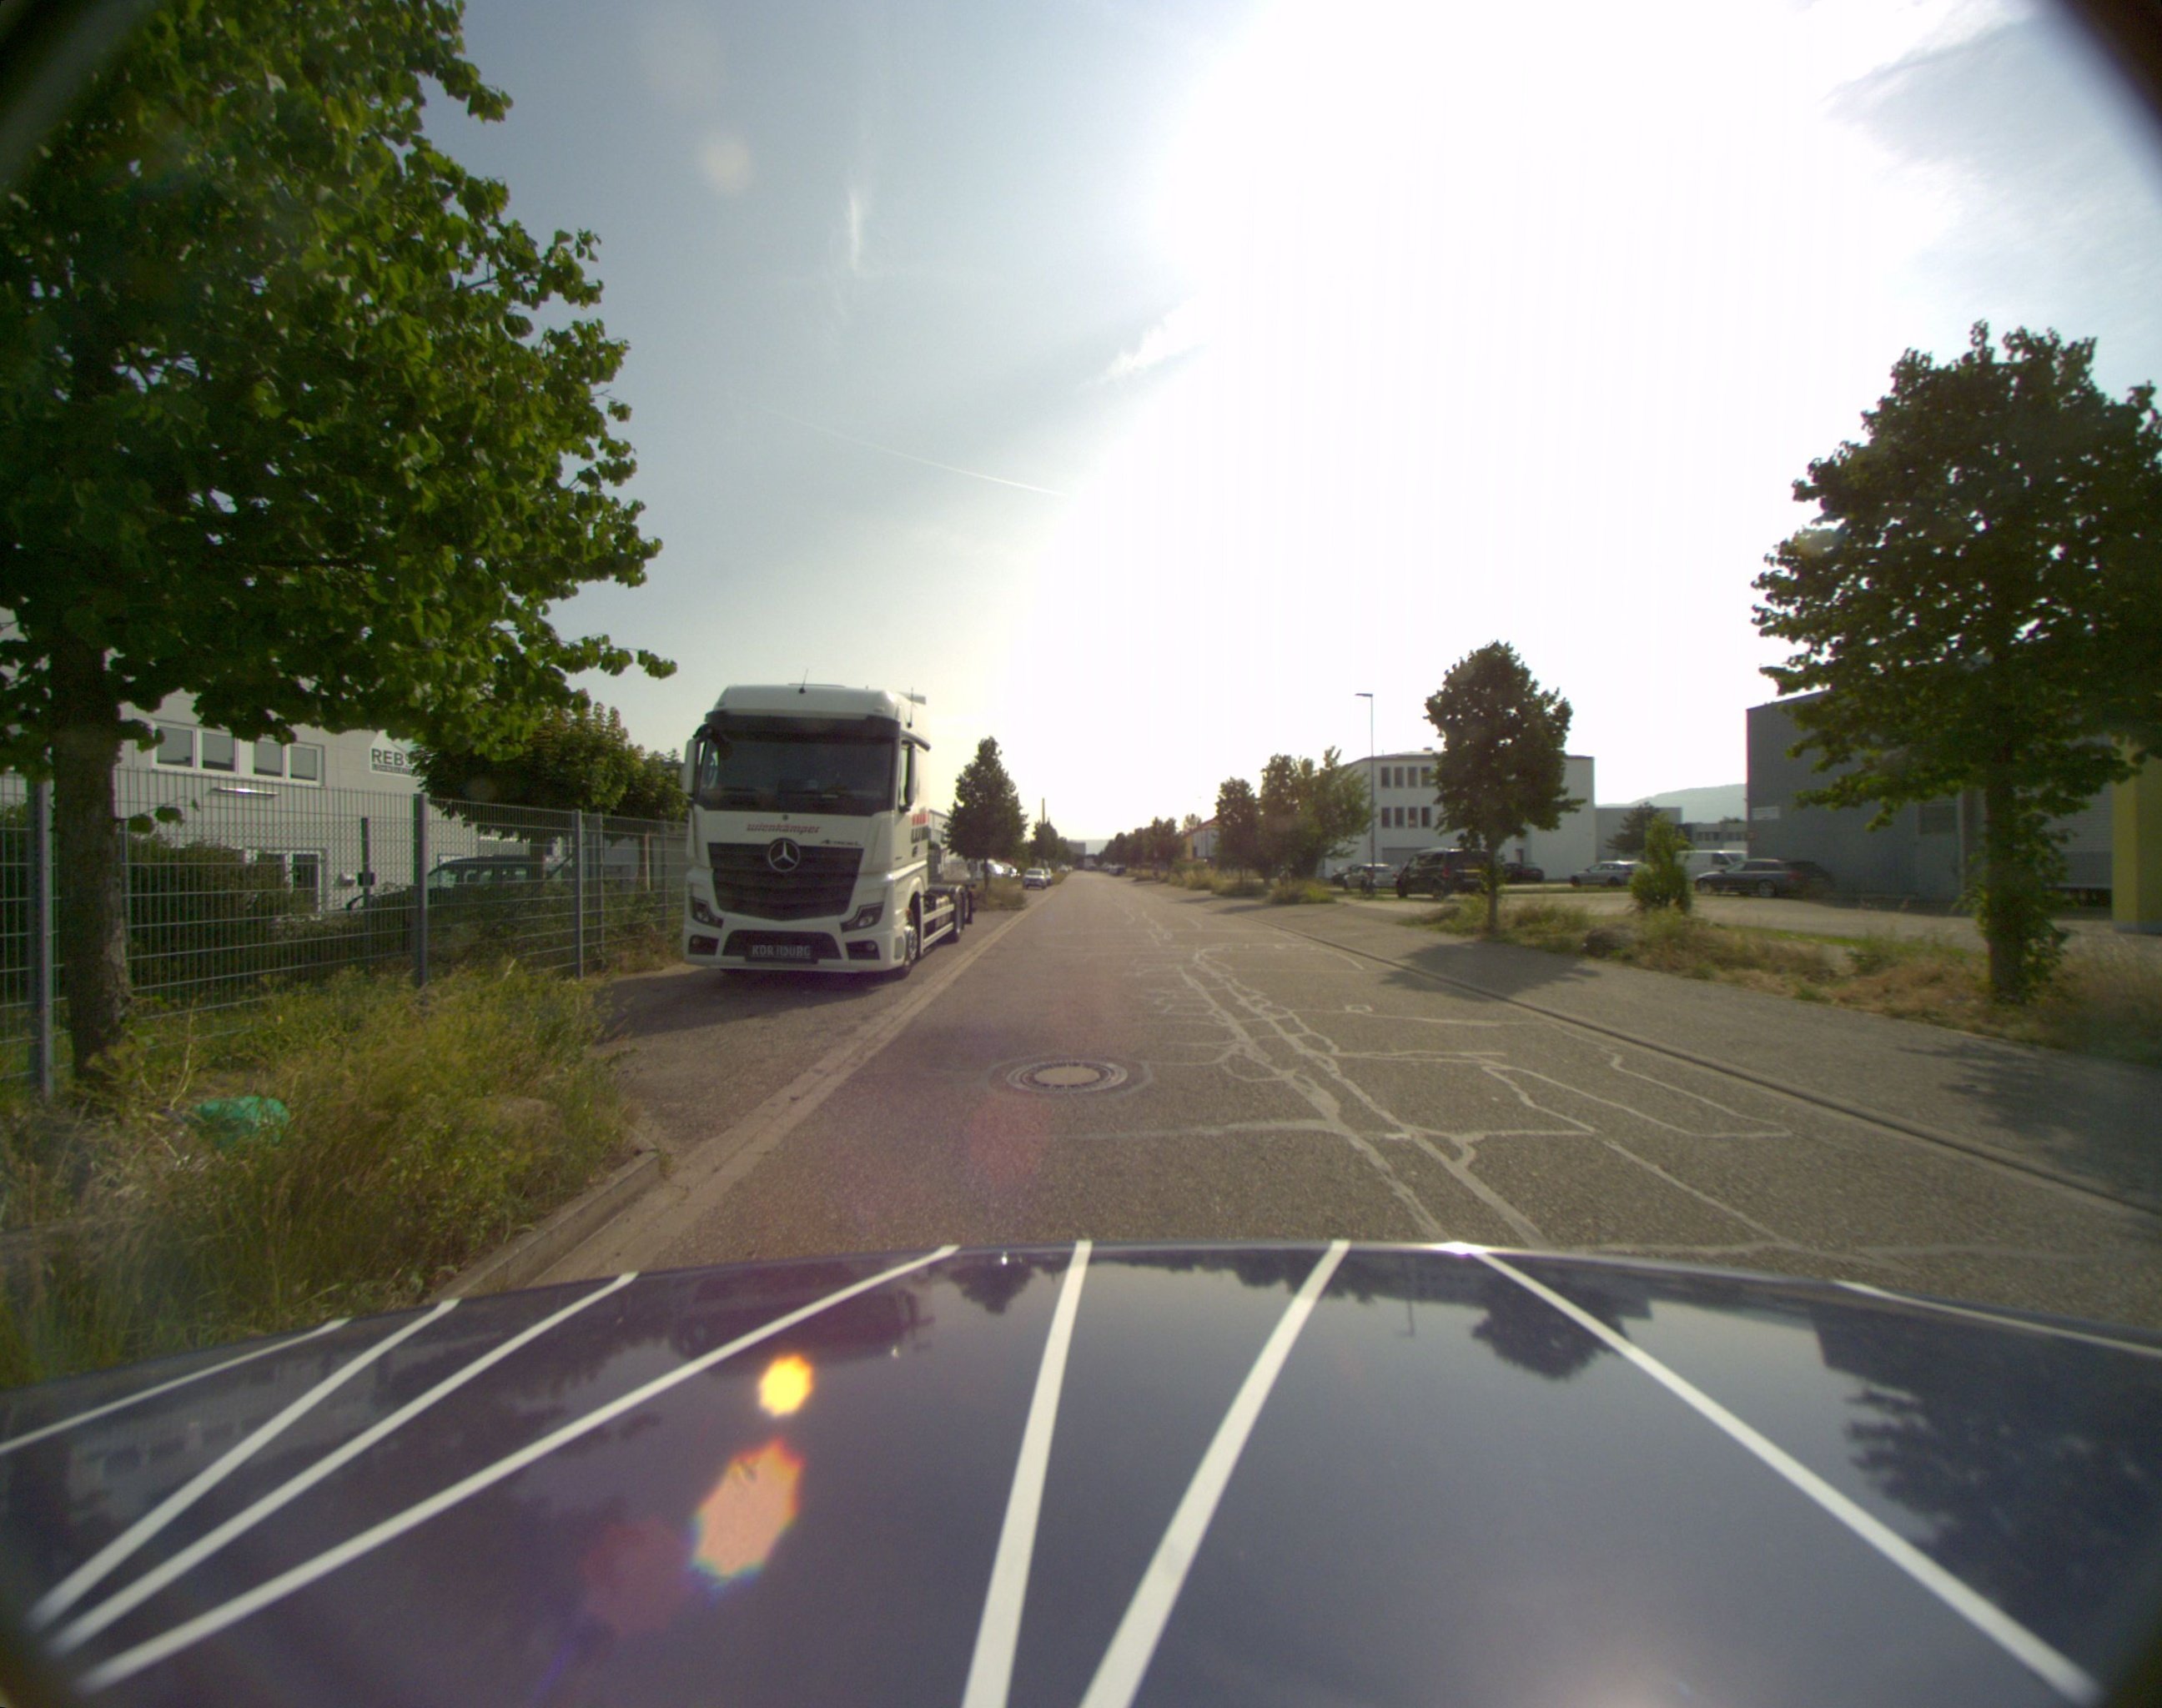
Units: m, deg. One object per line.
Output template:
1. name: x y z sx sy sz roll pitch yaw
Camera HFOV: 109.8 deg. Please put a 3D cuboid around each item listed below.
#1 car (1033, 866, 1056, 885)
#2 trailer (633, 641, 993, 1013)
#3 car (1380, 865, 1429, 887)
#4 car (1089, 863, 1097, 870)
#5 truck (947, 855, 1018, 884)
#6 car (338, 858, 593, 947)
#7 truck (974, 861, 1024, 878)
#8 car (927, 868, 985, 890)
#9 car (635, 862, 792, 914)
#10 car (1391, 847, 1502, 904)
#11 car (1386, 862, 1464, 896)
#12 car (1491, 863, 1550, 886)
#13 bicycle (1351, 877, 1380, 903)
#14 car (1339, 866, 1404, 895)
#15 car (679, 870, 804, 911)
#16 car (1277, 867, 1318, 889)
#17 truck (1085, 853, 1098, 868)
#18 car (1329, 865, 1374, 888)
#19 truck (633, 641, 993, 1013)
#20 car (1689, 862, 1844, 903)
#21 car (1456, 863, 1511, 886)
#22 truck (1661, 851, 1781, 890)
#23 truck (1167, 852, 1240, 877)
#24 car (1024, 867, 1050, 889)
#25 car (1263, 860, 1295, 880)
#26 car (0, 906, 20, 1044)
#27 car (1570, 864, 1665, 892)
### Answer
1. car: -3.043 1.761 63.856 1.694 1.495 3.541 1 -1 0
2. trailer: -3.488 -0.222 13.146 2.753 3.991 9.687 2 -1 0
3. car: 21.966 1.476 51.766 1.759 1.459 3.919 -1 -1 1
4. car: 2.622 2.727 166.557 1.668 1.495 3.540 -1 0 0
5. truck: -8.706 1.356 67.160 6.194 2.515 2.280 0 0 33
6. car: -13.620 1.033 17.019 4.100 1.824 1.912 -1 0 -1
7. truck: -9.690 1.805 89.143 5.815 2.009 2.280 -1 -1 37
8. car: -9.069 1.782 55.136 3.989 1.489 1.902 -1 -1 36
9. car: -12.740 1.156 26.556 4.498 1.712 1.999 -1 -1 -4
10. car: 13.925 0.817 29.334 1.886 2.001 4.992 0 -1 0
11. car: 17.717 1.251 39.343 1.947 1.597 4.509 -1 -1 0
12. car: 29.546 1.342 51.215 1.759 1.459 3.919 -1 -1 1
13. bicycle: 11.210 1.414 29.998 0.541 0.973 1.871 -1 -1 4
14. car: 15.098 1.353 39.700 1.790 1.441 3.918 -1 -1 -2
15. car: -13.010 1.386 29.258 4.015 1.453 1.754 -1 -1 4
16. car: 14.743 1.639 51.953 1.759 1.401 3.919 -1 -1 1
17. truck: 2.913 1.909 218.609 3.413 4.017 10.396 -2 -1 0
18. car: 18.419 1.505 51.891 1.759 1.459 3.919 -1 -1 1
19. truck: -3.488 -0.222 13.146 2.753 3.991 9.687 2 -1 0
20. car: 26.488 1.063 29.620 1.719 1.452 4.782 -1 -1 0
21. car: 27.221 1.381 51.533 1.759 1.459 3.919 -1 -1 1
22. truck: 33.661 0.856 40.194 1.999 1.892 4.952 -1 -1 -3
23. truck: 14.762 1.265 91.424 8.858 2.816 2.509 2 -1 -28
24. car: -3.200 1.725 55.284 1.668 1.495 3.541 1 -1 0
25. car: 18.741 1.470 72.073 1.998 1.827 4.696 -1 -1 2
26. car: -12.195 1.255 6.032 1.889 1.423 4.001 -1 -1 1
27. car: 27.911 1.192 39.716 1.737 1.364 4.382 -1 -1 -3
